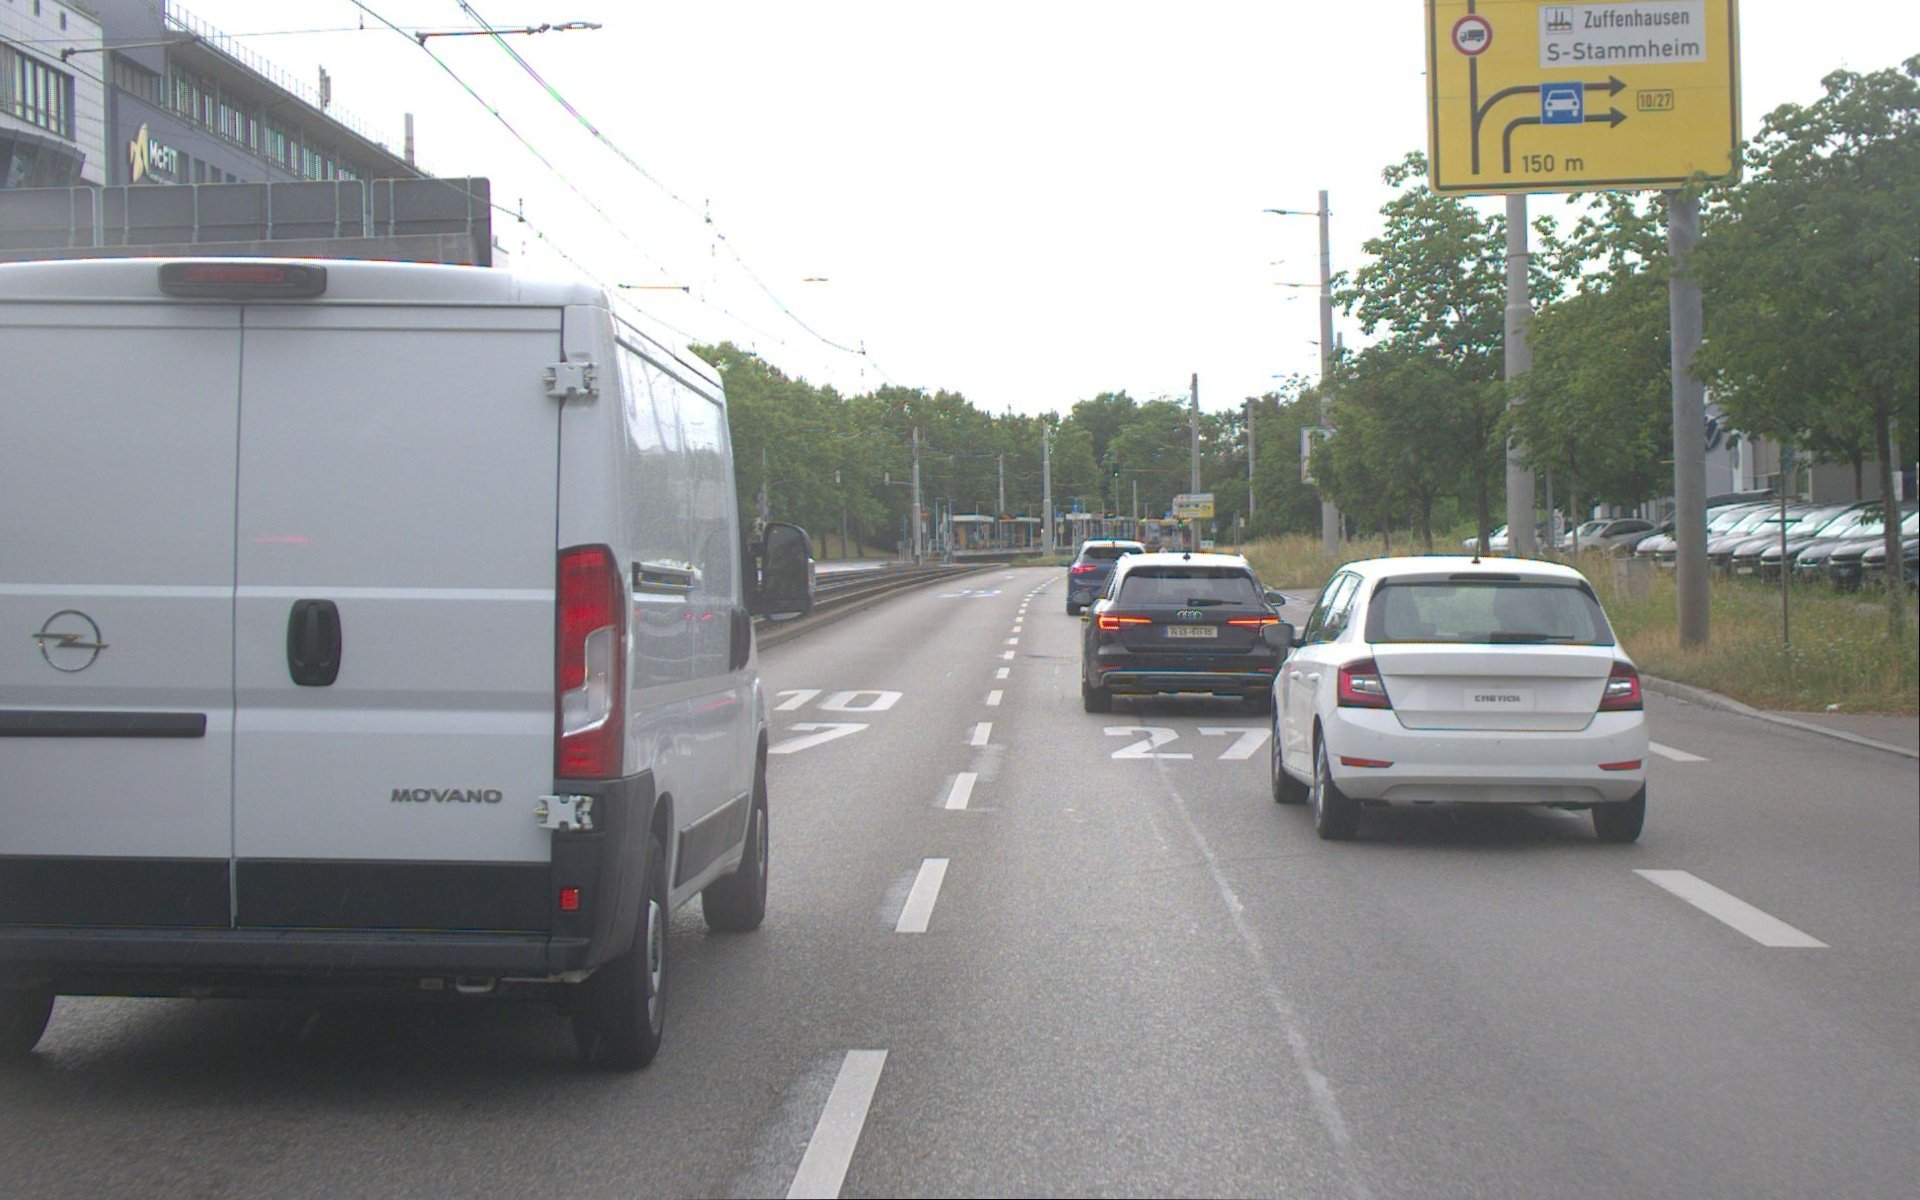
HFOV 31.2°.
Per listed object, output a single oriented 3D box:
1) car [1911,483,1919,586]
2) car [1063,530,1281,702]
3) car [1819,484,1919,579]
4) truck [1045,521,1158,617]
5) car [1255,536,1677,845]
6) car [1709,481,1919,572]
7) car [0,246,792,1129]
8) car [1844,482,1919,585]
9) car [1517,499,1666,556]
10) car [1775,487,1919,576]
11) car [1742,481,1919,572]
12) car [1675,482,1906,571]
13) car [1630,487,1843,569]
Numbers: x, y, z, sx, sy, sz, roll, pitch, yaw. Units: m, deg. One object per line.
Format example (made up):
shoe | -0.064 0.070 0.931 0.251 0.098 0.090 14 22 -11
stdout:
car | 16.015 -1.037 49.595 4.043 1.496 1.687 -3 1 -9
car | 1.873 0.094 31.389 1.789 1.444 4.000 0 1 1
car | 16.710 -1.210 57.562 4.138 1.529 1.794 -3 1 -18
truck | 2.754 -0.646 67.850 1.993 1.784 4.414 -1 1 0
car | 2.632 0.409 18.671 1.746 1.452 3.671 1 1 0
car | 16.664 -1.416 65.784 4.138 1.564 1.910 -3 1 -21
car | -1.797 0.146 11.158 2.090 2.189 5.061 1 2 2
car | 16.317 -1.132 54.613 4.043 1.571 1.733 -3 1 -18
car | 18.520 -2.138 100.820 4.087 1.460 1.748 -3 0 -31
car | 16.639 -1.247 60.362 4.138 1.453 1.794 -3 1 -18
car | 16.673 -1.370 63.058 4.138 1.523 1.832 -3 1 -18
car | 16.572 -1.462 68.604 4.138 1.564 1.827 -3 1 -23
car | 16.775 -1.552 74.298 4.138 1.556 1.870 -3 1 -24
